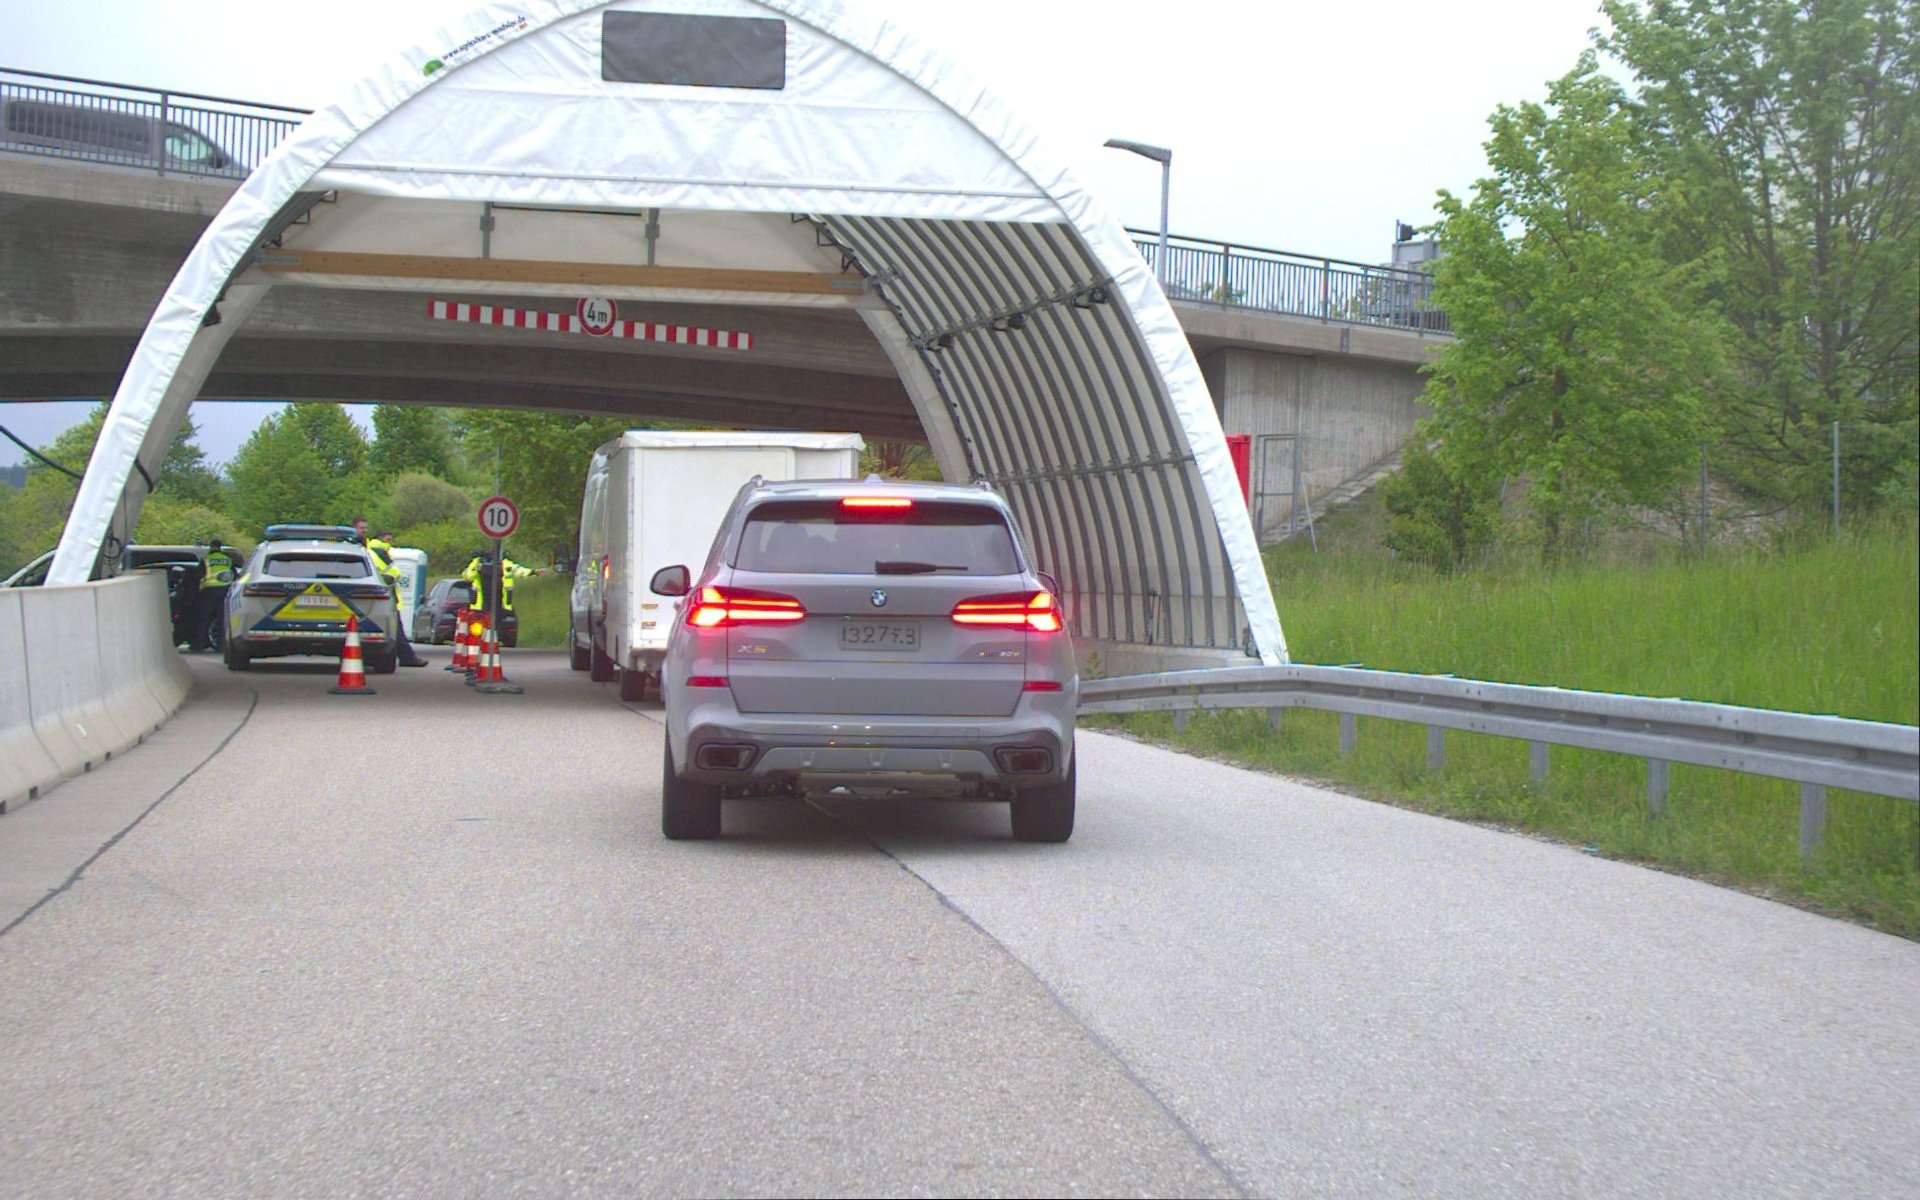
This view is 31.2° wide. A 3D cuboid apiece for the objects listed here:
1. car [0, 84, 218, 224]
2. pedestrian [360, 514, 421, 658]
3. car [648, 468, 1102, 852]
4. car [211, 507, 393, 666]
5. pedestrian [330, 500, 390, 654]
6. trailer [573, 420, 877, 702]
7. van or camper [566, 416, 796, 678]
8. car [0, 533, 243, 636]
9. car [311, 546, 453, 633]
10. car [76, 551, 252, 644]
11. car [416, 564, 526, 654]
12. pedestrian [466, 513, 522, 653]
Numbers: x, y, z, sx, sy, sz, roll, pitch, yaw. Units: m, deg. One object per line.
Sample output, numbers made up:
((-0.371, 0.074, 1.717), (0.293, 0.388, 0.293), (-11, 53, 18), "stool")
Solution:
((-13.854, -6.723, 51.640), (4.924, 1.642, 1.999), (0, 0, -38), "car")
((-7.080, -0.169, 42.696), (0.720, 1.769, 0.690), (0, 0, -11), "pedestrian")
((-0.557, 0.271, 17.491), (1.993, 1.714, 4.001), (1, 0, -6), "car")
((-7.727, -0.168, 40.202), (1.993, 1.766, 3.766), (0, 0, -12), "car")
((-7.621, -0.290, 43.651), (0.720, 1.939, 0.690), (0, 0, -11), "pedestrian")
((-2.407, -0.317, 33.150), (2.278, 2.422, 6.819), (1, 0, -9), "trailer")
((-3.289, -0.547, 39.381), (2.156, 2.754, 5.872), (1, 0, -9), "van or camper")
((-15.262, -0.291, 62.639), (3.987, 1.848, 1.709), (0, 0, 4), "car")
((-13.736, -0.269, 81.527), (1.993, 2.007, 4.000), (0, 0, -31), "car")
((-12.747, -0.047, 54.947), (1.515, 1.437, 3.315), (0, 0, -37), "car")
((-10.306, 0.165, 72.211), (1.703, 1.848, 4.001), (0, 1, -17), "car")
((-5.946, -0.218, 43.826), (0.648, 1.769, 0.606), (0, 0, -13), "pedestrian")
